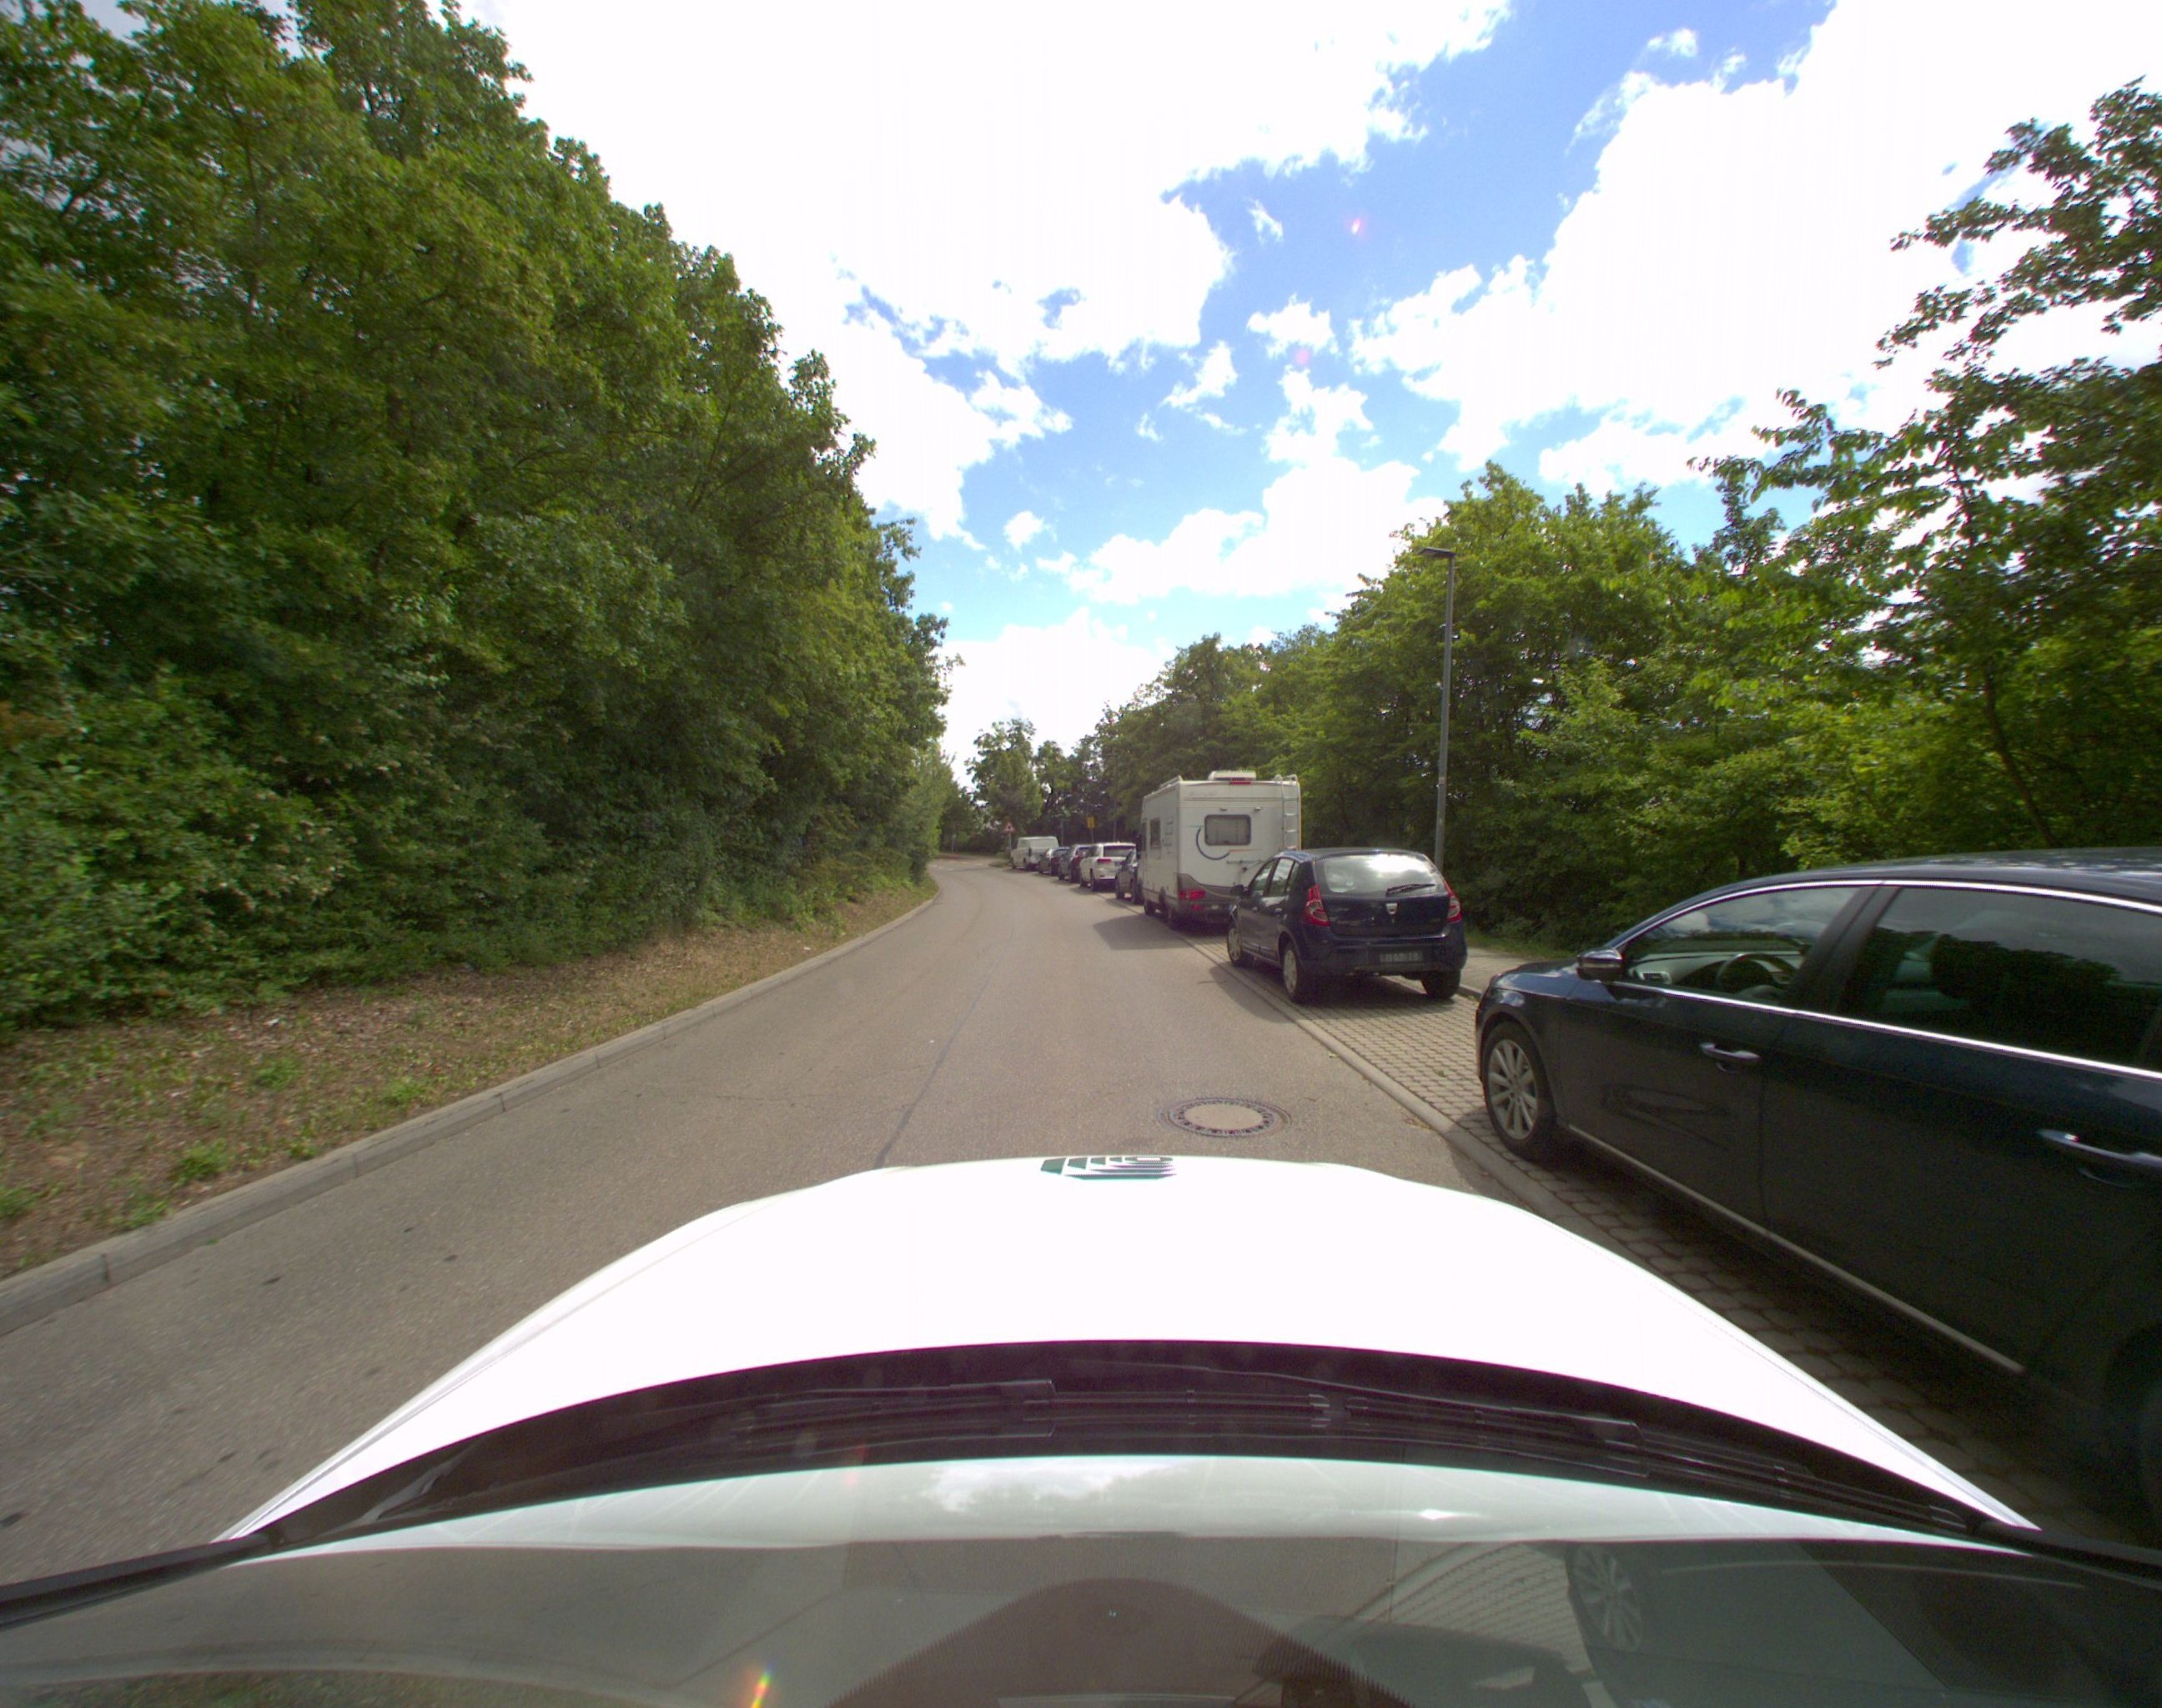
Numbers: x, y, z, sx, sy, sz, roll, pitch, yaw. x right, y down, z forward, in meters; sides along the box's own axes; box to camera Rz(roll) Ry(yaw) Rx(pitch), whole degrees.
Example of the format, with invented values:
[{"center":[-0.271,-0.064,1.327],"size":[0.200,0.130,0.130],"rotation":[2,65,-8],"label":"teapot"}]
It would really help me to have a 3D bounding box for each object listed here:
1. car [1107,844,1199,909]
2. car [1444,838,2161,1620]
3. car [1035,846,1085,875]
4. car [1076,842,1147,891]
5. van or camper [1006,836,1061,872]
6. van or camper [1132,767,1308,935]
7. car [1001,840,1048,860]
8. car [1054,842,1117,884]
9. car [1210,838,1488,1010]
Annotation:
[{"center":[1.969,0.589,23.444],"size":[1.709,1.591,3.989],"rotation":[4,0,-8],"label":"car"},{"center":[2.898,0.684,2.416],"size":[1.769,1.434,4.334],"rotation":[-1,0,1],"label":"car"},{"center":[-1.169,0.297,42.890],"size":[1.800,1.464,3.981],"rotation":[-1,1,-14],"label":"car"},{"center":[1.044,0.394,30.351],"size":[1.870,1.689,4.567],"rotation":[0,1,-8],"label":"car"},{"center":[-2.879,-0.065,48.410],"size":[1.999,1.919,5.234],"rotation":[-2,2,-18],"label":"van or camper"},{"center":[2.568,-0.062,16.993],"size":[2.327,2.869,6.143],"rotation":[0,0,-3],"label":"van or camper"},{"center":[-4.645,-0.348,66.747],"size":[3.542,1.480,1.773],"rotation":[-1,3,-15],"label":"car"},{"center":[0.143,0.345,36.335],"size":[1.994,1.626,4.263],"rotation":[-3,2,-10],"label":"car"},{"center":[2.776,0.663,9.407],"size":[1.725,1.519,3.884],"rotation":[-1,-1,-3],"label":"car"}]
